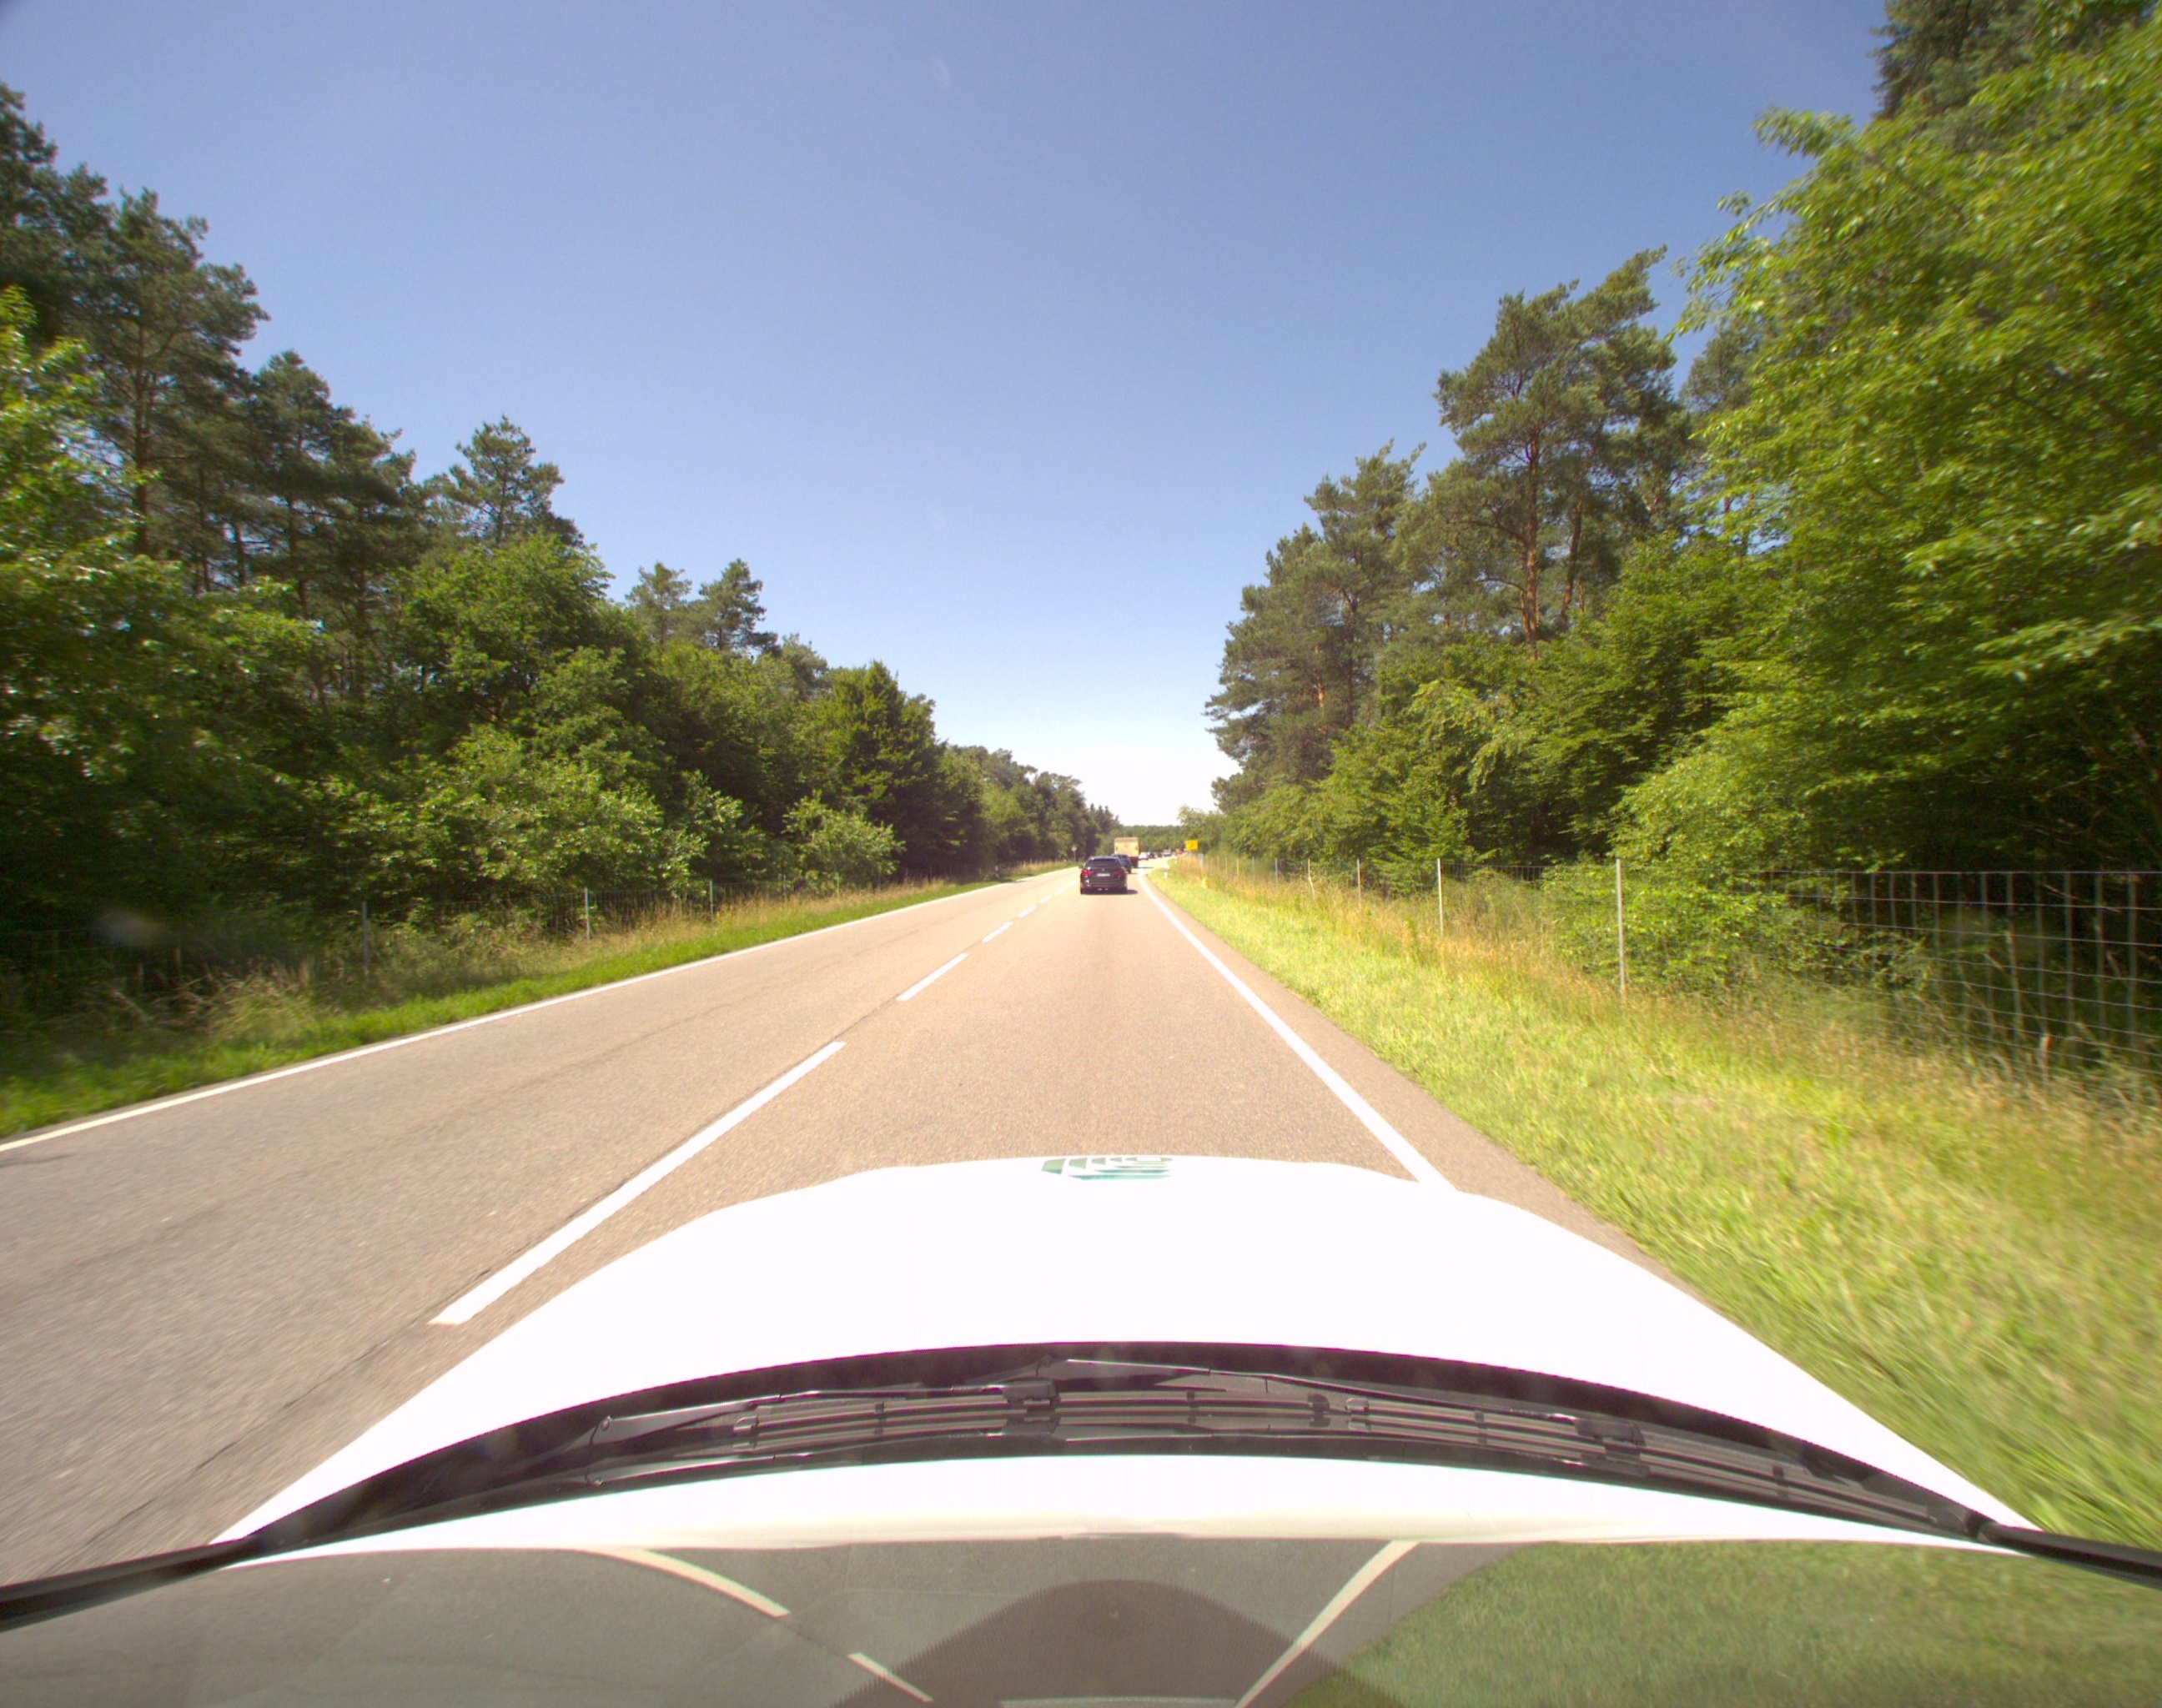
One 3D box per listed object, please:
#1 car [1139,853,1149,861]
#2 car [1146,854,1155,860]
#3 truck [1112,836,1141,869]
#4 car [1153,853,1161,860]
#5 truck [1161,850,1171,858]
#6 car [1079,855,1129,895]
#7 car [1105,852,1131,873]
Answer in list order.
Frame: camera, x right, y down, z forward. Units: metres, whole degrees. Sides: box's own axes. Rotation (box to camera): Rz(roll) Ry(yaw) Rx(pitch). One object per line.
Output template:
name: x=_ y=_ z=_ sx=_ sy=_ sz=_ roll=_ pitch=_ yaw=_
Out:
car: x=13.160 y=0.565 z=171.325 sx=1.856 sy=1.605 sz=4.002 roll=-2 pitch=0 yaw=2
car: x=17.310 y=0.669 z=202.137 sx=1.983 sy=1.420 sz=4.007 roll=-1 pitch=0 yaw=6
truck: x=4.941 y=-0.151 z=88.302 sx=2.953 sy=3.387 sz=6.443 roll=-2 pitch=0 yaw=3
car: x=20.996 y=0.638 z=224.260 sx=1.984 sy=1.636 sz=4.005 roll=-3 pitch=0 yaw=4
truck: x=26.605 y=-0.051 z=254.712 sx=2.554 sy=2.202 sz=4.975 roll=-2 pitch=0 yaw=1
car: x=0.870 y=0.794 z=32.889 sx=1.815 sy=1.470 sz=3.998 roll=-2 pitch=0 yaw=-1
car: x=2.940 y=0.673 z=64.879 sx=1.939 sy=1.541 sz=4.003 roll=-3 pitch=0 yaw=3
